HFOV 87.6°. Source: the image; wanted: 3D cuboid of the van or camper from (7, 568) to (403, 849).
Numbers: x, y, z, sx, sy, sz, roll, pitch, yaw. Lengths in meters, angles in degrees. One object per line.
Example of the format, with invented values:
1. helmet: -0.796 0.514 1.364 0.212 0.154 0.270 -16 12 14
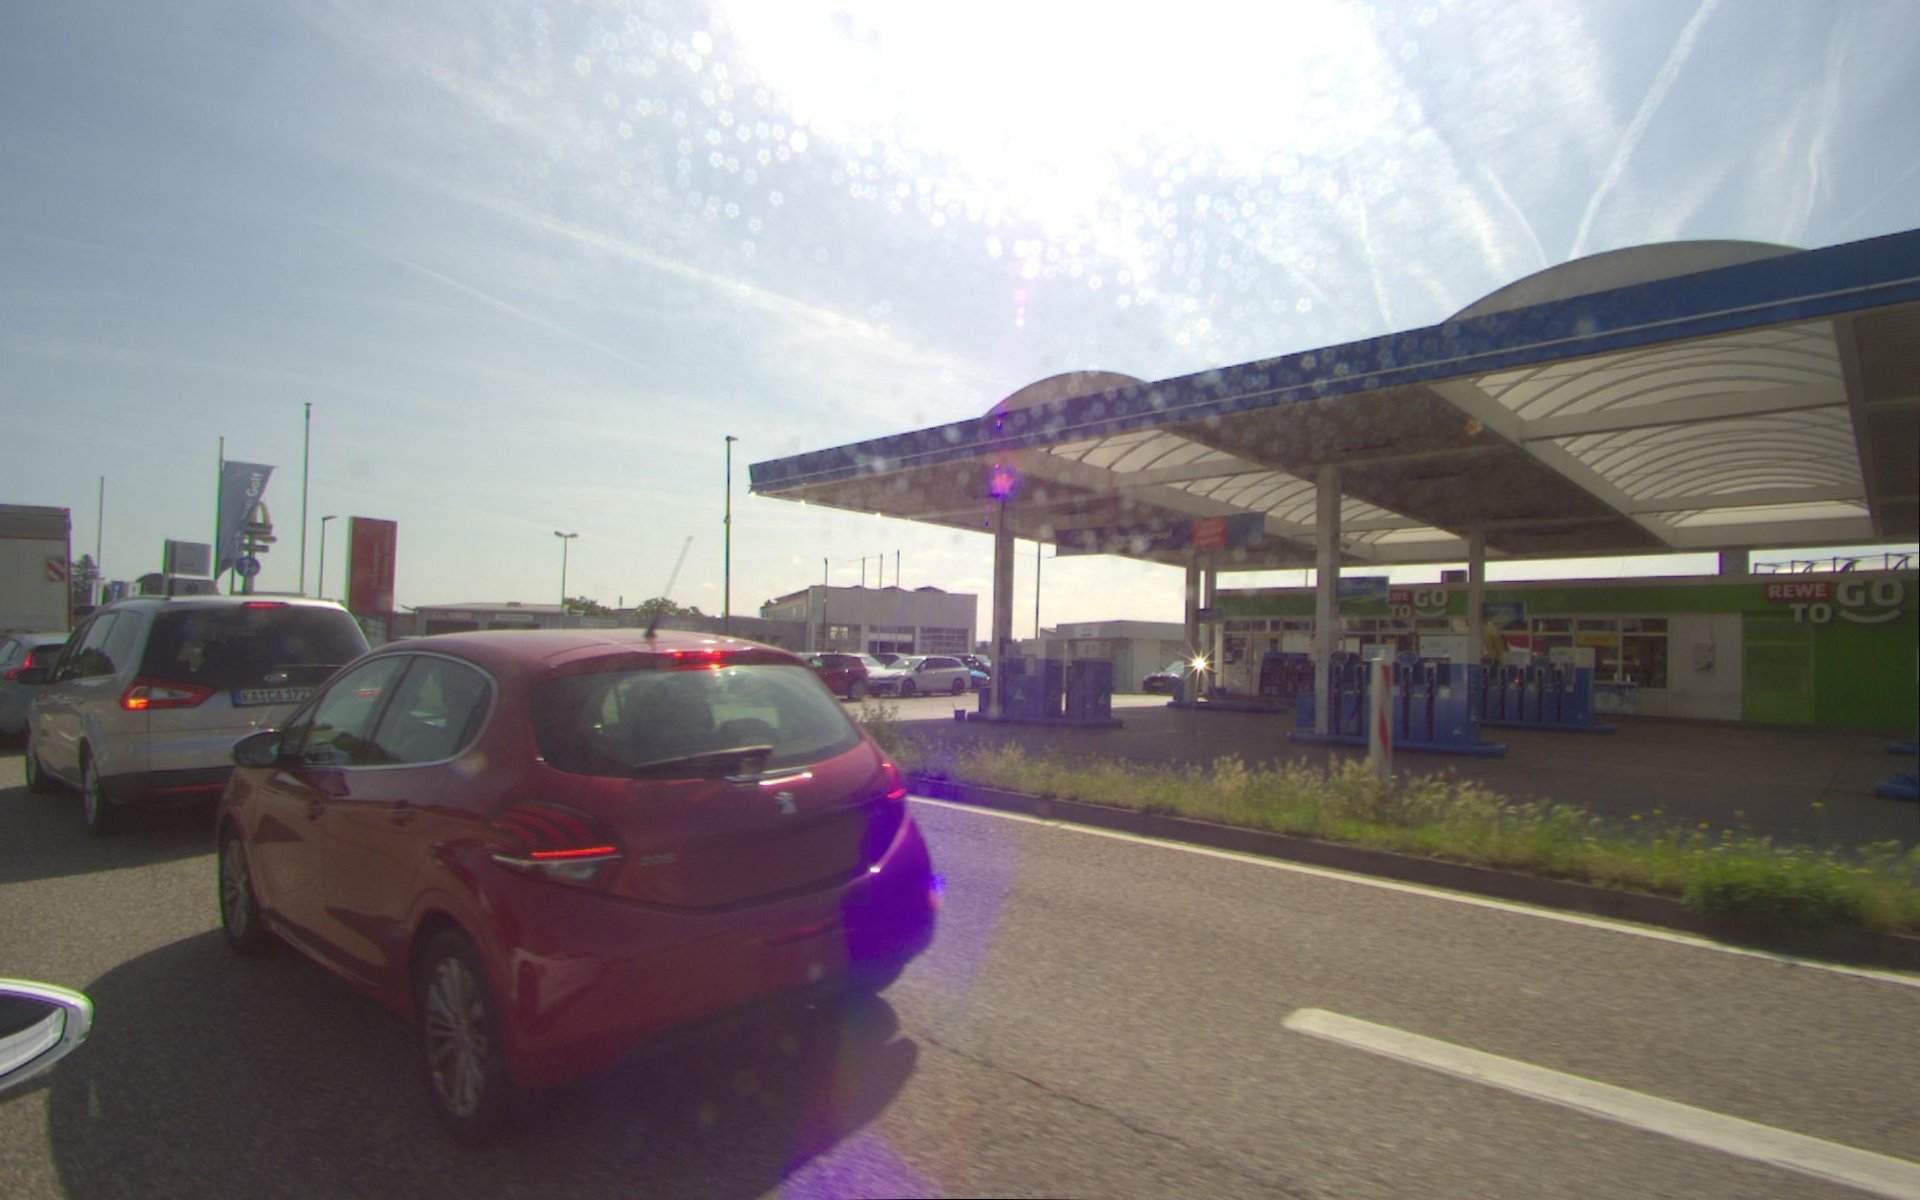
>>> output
1. van or camper: -6.828 0.775 8.795 5.074 1.809 1.739 -1 -3 41

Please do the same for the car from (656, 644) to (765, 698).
1. car: -8.447 2.349 33.770 3.814 1.615 1.607 -1 -1 40

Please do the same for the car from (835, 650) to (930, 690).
1. car: -3.229 2.832 41.276 3.814 1.461 1.700 -1 -1 39

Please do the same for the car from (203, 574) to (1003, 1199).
1. car: -1.780 0.775 4.342 3.673 1.592 1.791 -1 -1 43

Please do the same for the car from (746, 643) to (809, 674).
1. car: -9.338 2.975 51.177 1.547 1.427 3.656 1 -1 -41

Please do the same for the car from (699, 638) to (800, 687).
1. car: -7.653 2.225 36.237 3.814 1.615 1.552 -1 -1 40

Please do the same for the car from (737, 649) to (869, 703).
1. car: -4.959 2.390 31.944 1.787 1.592 3.883 -1 -3 43

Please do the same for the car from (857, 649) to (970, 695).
1. car: -1.613 2.575 36.028 1.545 1.513 4.313 -1 -3 39

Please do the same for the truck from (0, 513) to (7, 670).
1. truck: -33.784 -0.234 31.840 16.504 4.320 2.880 0 -2 39

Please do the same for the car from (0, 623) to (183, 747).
1. car: -12.203 1.056 13.621 4.175 1.446 1.728 -1 -3 40

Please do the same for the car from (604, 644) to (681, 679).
1. car: -14.203 2.702 44.752 3.551 1.427 1.552 -1 -1 38

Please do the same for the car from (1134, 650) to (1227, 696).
1. car: 8.637 2.824 39.050 1.735 1.658 3.968 -1 -3 43

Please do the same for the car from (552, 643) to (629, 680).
1. car: -15.891 2.605 43.031 3.552 1.427 1.552 -1 -1 39

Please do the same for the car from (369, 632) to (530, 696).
1. car: -12.519 1.516 24.804 1.535 1.427 3.592 0 -1 16

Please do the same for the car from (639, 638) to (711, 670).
1. car: -13.689 2.560 48.012 3.645 1.427 1.552 -1 -1 39

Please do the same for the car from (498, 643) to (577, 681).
1. car: -17.507 2.537 41.402 3.552 1.427 1.552 -1 -1 39

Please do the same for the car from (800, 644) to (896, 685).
1. car: -4.465 2.536 39.786 3.814 1.461 1.607 -1 -1 40

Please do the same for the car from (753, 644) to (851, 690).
1. car: -6.089 2.519 38.326 3.814 1.615 1.607 -1 -1 40

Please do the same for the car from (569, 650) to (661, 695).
1. car: -12.493 2.586 36.193 3.553 1.427 1.551 -1 -1 40

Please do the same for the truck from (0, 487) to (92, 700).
1. truck: -21.791 -0.085 21.584 11.009 3.859 2.868 0 -2 40
